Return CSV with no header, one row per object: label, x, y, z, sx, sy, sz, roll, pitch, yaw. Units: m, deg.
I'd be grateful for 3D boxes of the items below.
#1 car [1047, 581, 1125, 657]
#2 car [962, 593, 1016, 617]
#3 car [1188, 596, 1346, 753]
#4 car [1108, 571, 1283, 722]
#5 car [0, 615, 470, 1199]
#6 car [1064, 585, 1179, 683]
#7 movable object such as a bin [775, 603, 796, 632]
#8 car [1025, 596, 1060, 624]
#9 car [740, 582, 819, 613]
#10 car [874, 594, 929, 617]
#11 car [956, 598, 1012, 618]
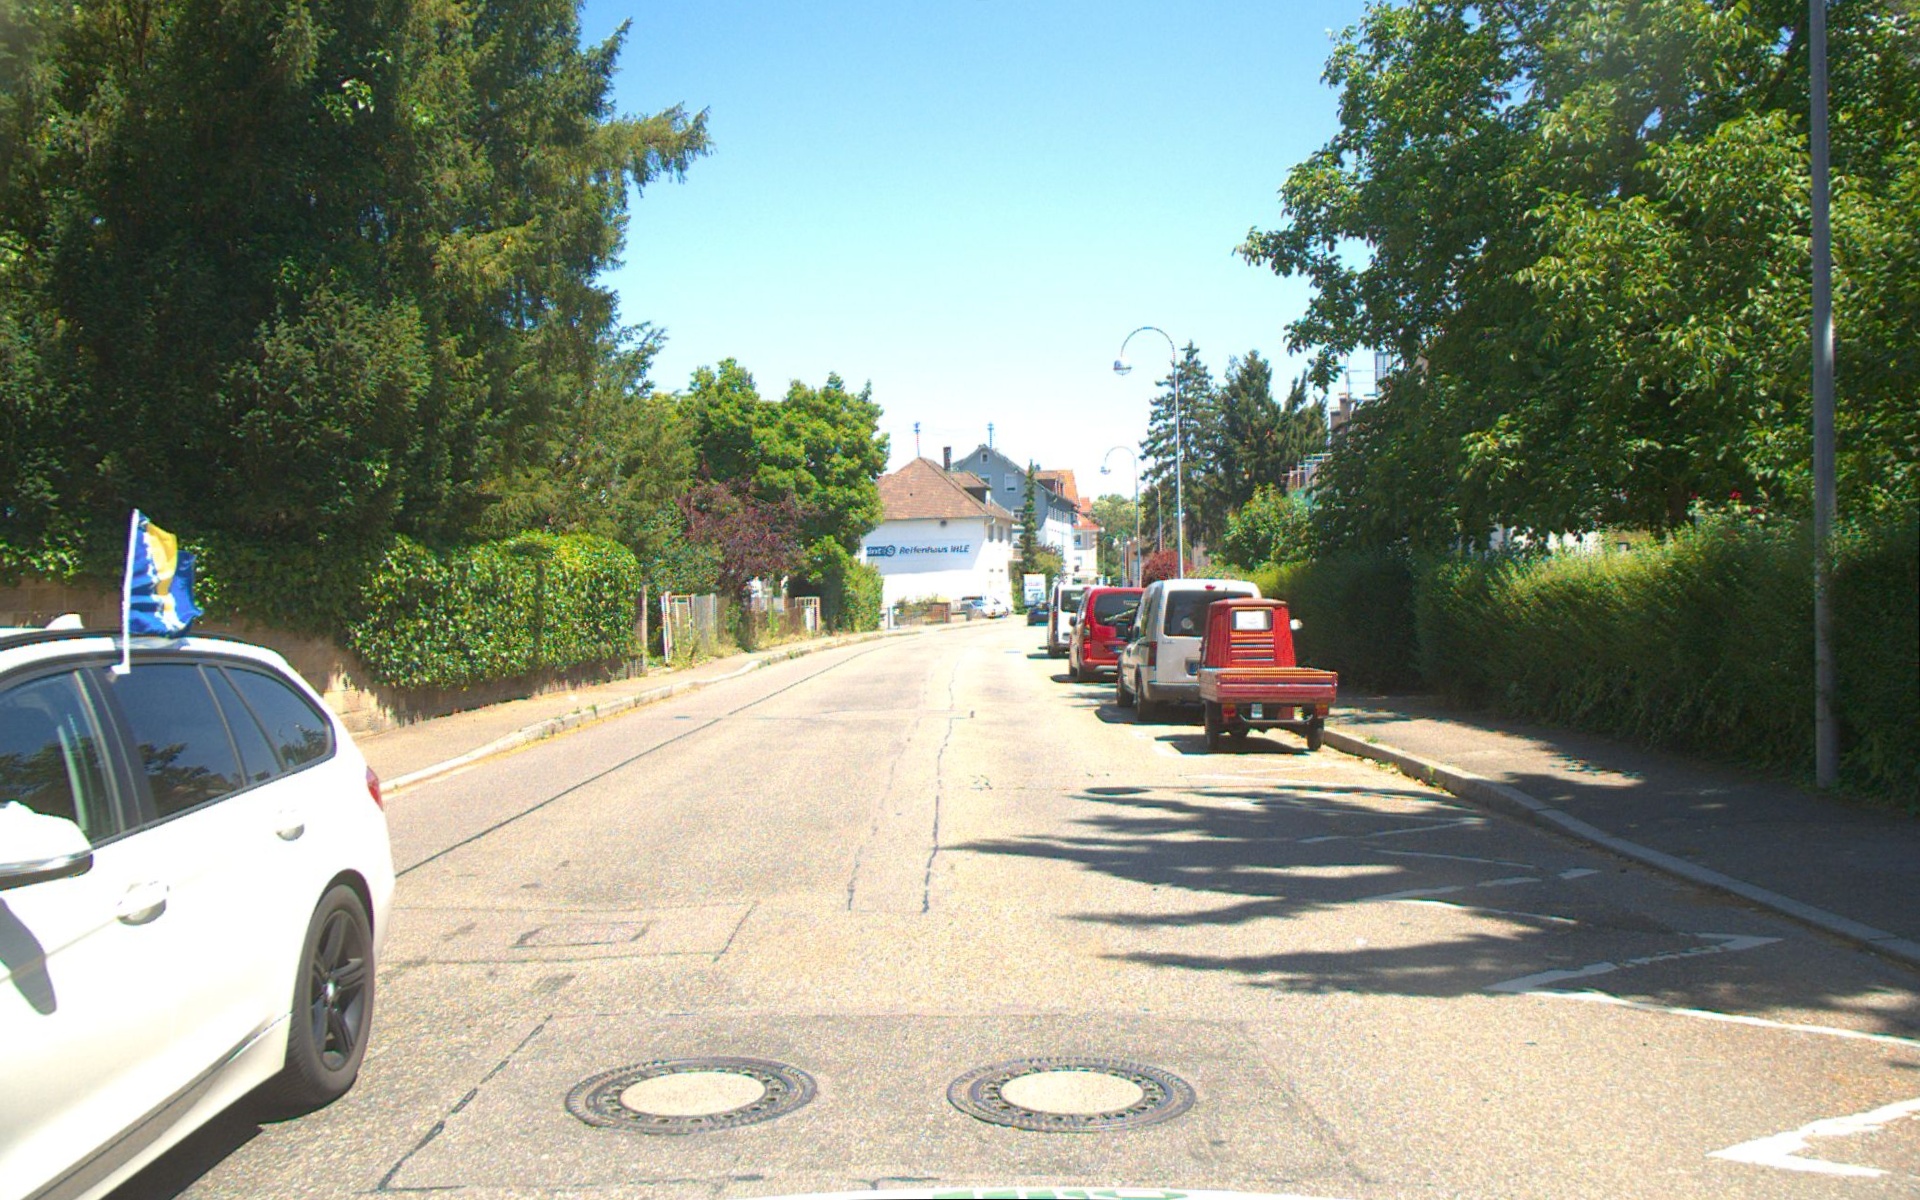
car,3.421,0.492,45.647,1.863,1.958,4.719,0,0,1
car,2.264,0.397,128.373,4.041,1.805,1.830,-1,0,5
car,3.195,0.731,17.570,1.234,1.522,2.709,1,0,2
car,3.087,0.573,22.500,1.710,1.813,4.543,1,0,0
car,-2.726,0.795,3.836,1.826,1.407,4.604,-1,0,-1
car,3.080,0.626,32.367,1.863,1.758,4.392,1,0,1
movable object such as a bin,-6.239,0.618,59.141,0.693,1.014,0.474,0,0,0
car,4.815,0.563,95.993,1.756,1.536,4.003,1,1,7
car,-9.317,-0.147,85.677,3.907,1.537,1.799,1,0,-3
car,-4.185,0.371,117.963,1.787,1.536,3.935,-1,1,-44
car,1.860,0.614,125.629,4.040,1.419,1.830,-1,0,9
